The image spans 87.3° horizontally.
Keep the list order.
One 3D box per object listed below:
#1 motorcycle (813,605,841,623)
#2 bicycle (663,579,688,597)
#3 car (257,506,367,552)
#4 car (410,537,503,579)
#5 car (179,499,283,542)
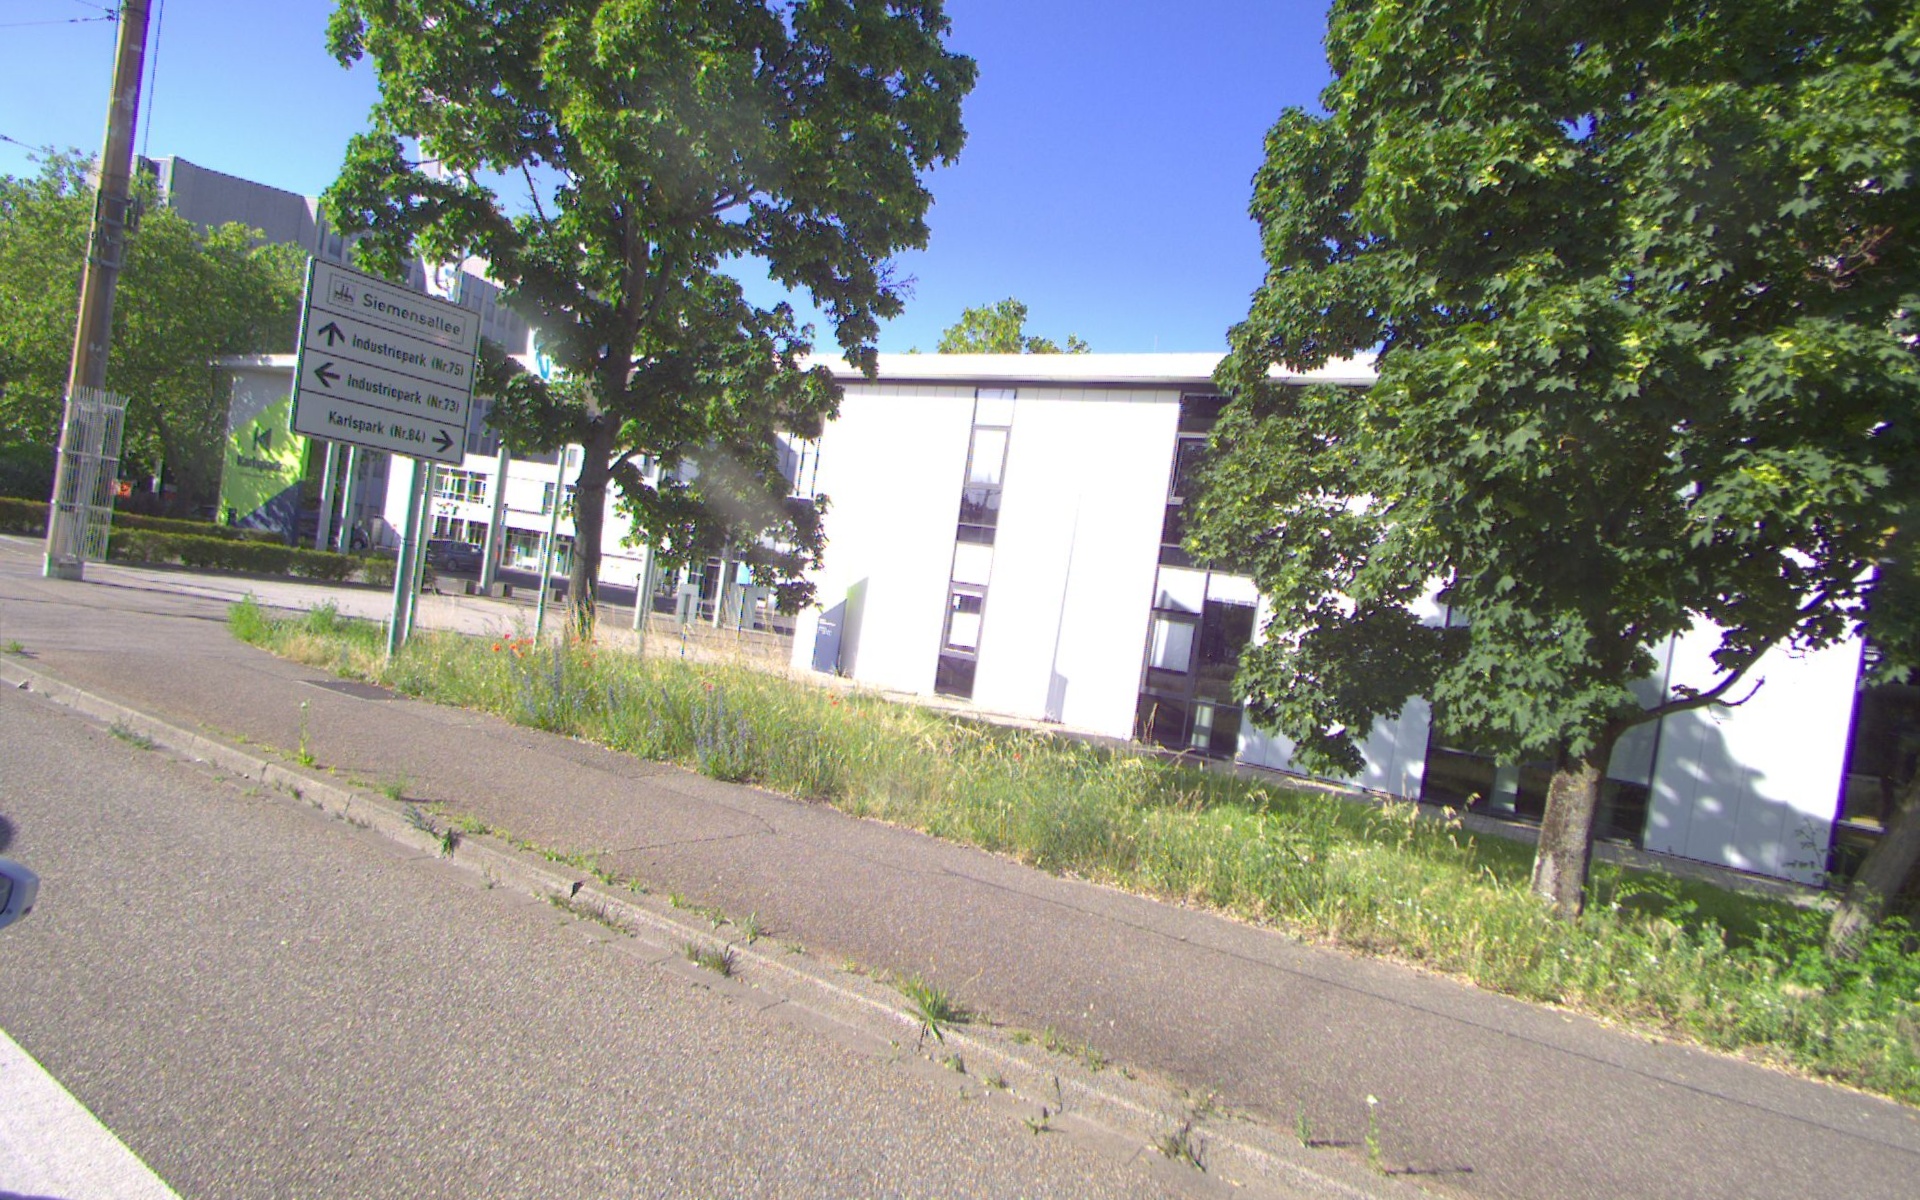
[{"bbox_3d":[-8.976,0.920,67.854,1.701,0.959,0.653,8,0,17],"label":"motorcycle"},{"bbox_3d":[-20.261,-0.861,71.666,1.591,1.016,0.566,8,0,17],"label":"bicycle"},{"bbox_3d":[-36.282,-3.952,56.506,2.052,1.778,4.900,8,-1,17],"label":"car"},{"bbox_3d":[-26.680,-2.208,53.449,1.918,1.597,4.000,8,-1,23],"label":"car"},{"bbox_3d":[-42.657,-4.639,58.965,1.861,1.706,4.468,8,-1,26],"label":"car"}]
